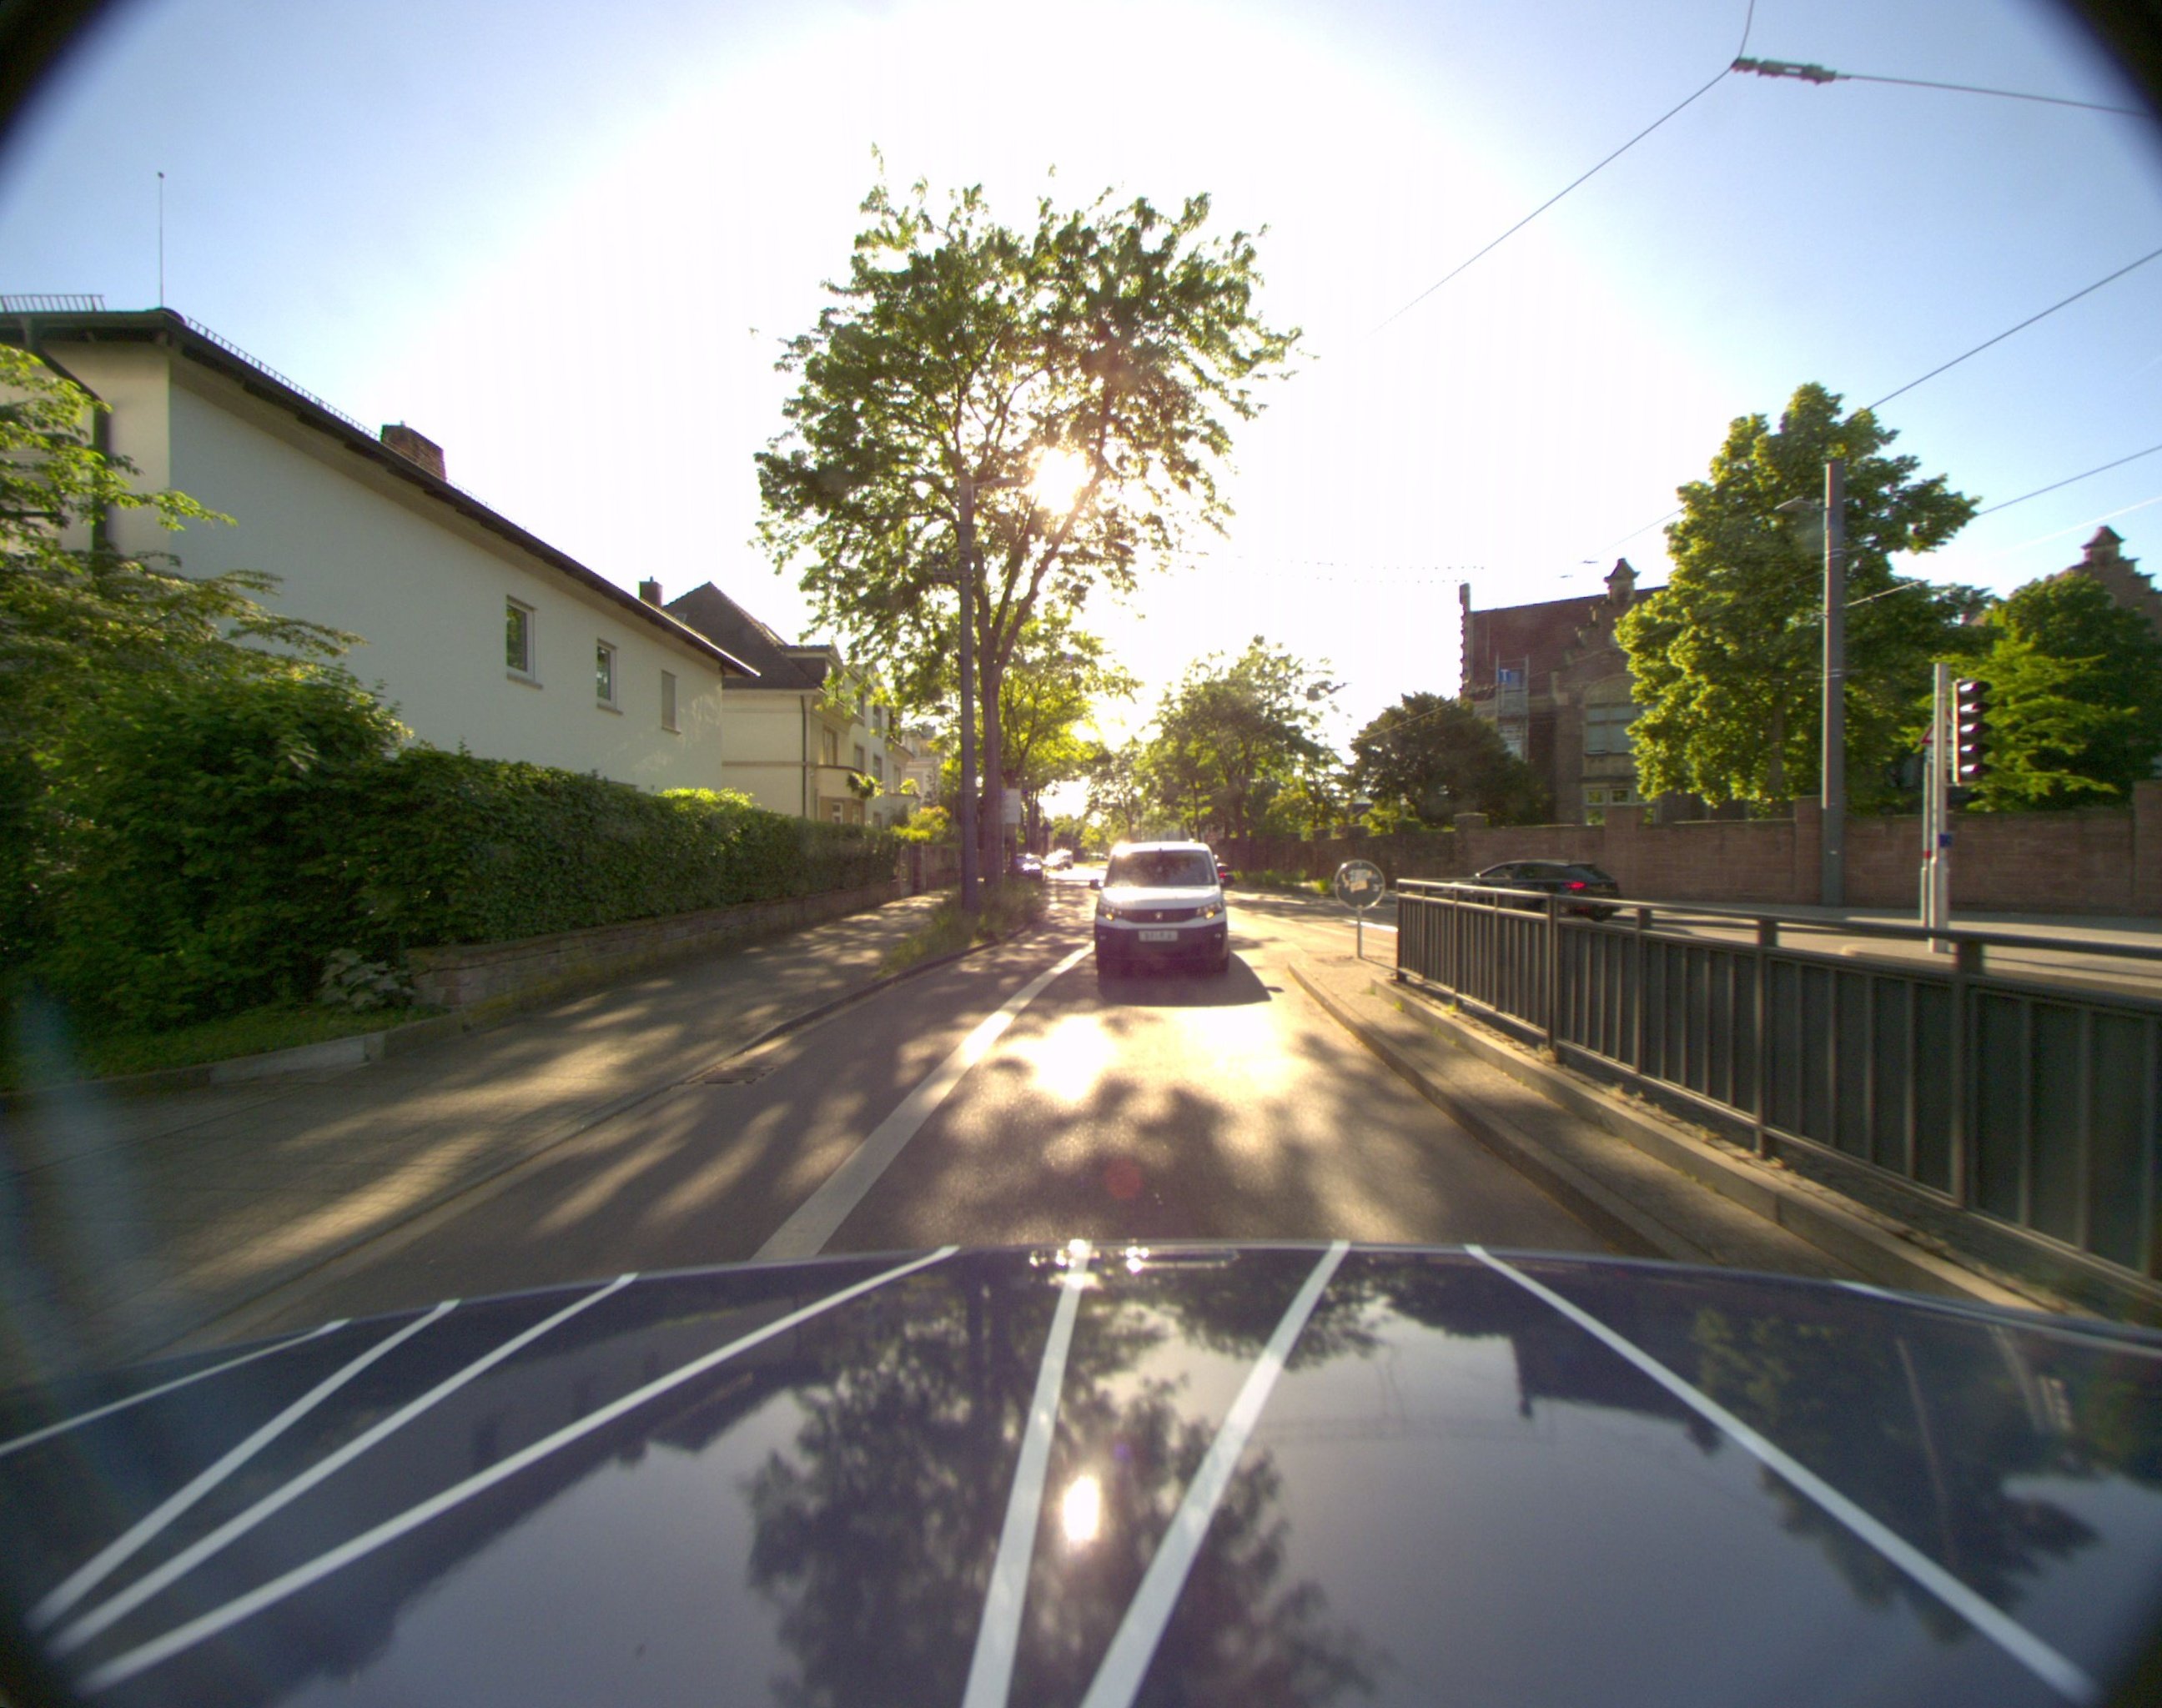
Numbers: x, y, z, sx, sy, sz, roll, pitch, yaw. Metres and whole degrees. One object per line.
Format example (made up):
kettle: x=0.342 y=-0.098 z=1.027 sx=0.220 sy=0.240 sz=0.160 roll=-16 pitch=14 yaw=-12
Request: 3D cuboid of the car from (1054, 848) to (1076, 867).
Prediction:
car: x=-1.625 y=0.312 z=78.862 sx=1.904 sy=1.819 sz=4.248 roll=-1 pitch=1 yaw=3

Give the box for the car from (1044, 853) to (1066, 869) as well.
car: x=-2.447 y=0.655 z=72.499 sx=1.719 sy=1.332 sz=3.918 roll=-1 pitch=1 yaw=3

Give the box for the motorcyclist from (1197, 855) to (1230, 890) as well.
motorcyclist: x=5.972 y=0.824 z=34.289 sx=1.129 sy=1.516 sz=1.054 roll=-1 pitch=1 yaw=-15

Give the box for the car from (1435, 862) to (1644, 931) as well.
car: x=10.814 y=0.928 z=18.258 sx=1.863 sy=1.395 sz=3.975 roll=0 pitch=0 yaw=-22

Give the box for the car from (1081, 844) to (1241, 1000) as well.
car: x=1.064 y=0.778 z=11.106 sx=1.831 sy=1.788 sz=4.334 roll=-1 pitch=1 yaw=3

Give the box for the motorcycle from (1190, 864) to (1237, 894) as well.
motorcycle: x=5.954 y=1.090 z=34.347 sx=1.134 sy=1.236 sz=2.570 roll=-1 pitch=1 yaw=-15

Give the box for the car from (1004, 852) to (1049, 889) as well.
car: x=-2.703 y=0.785 z=38.434 sx=1.999 sy=1.733 sz=4.169 roll=-1 pitch=1 yaw=-1
